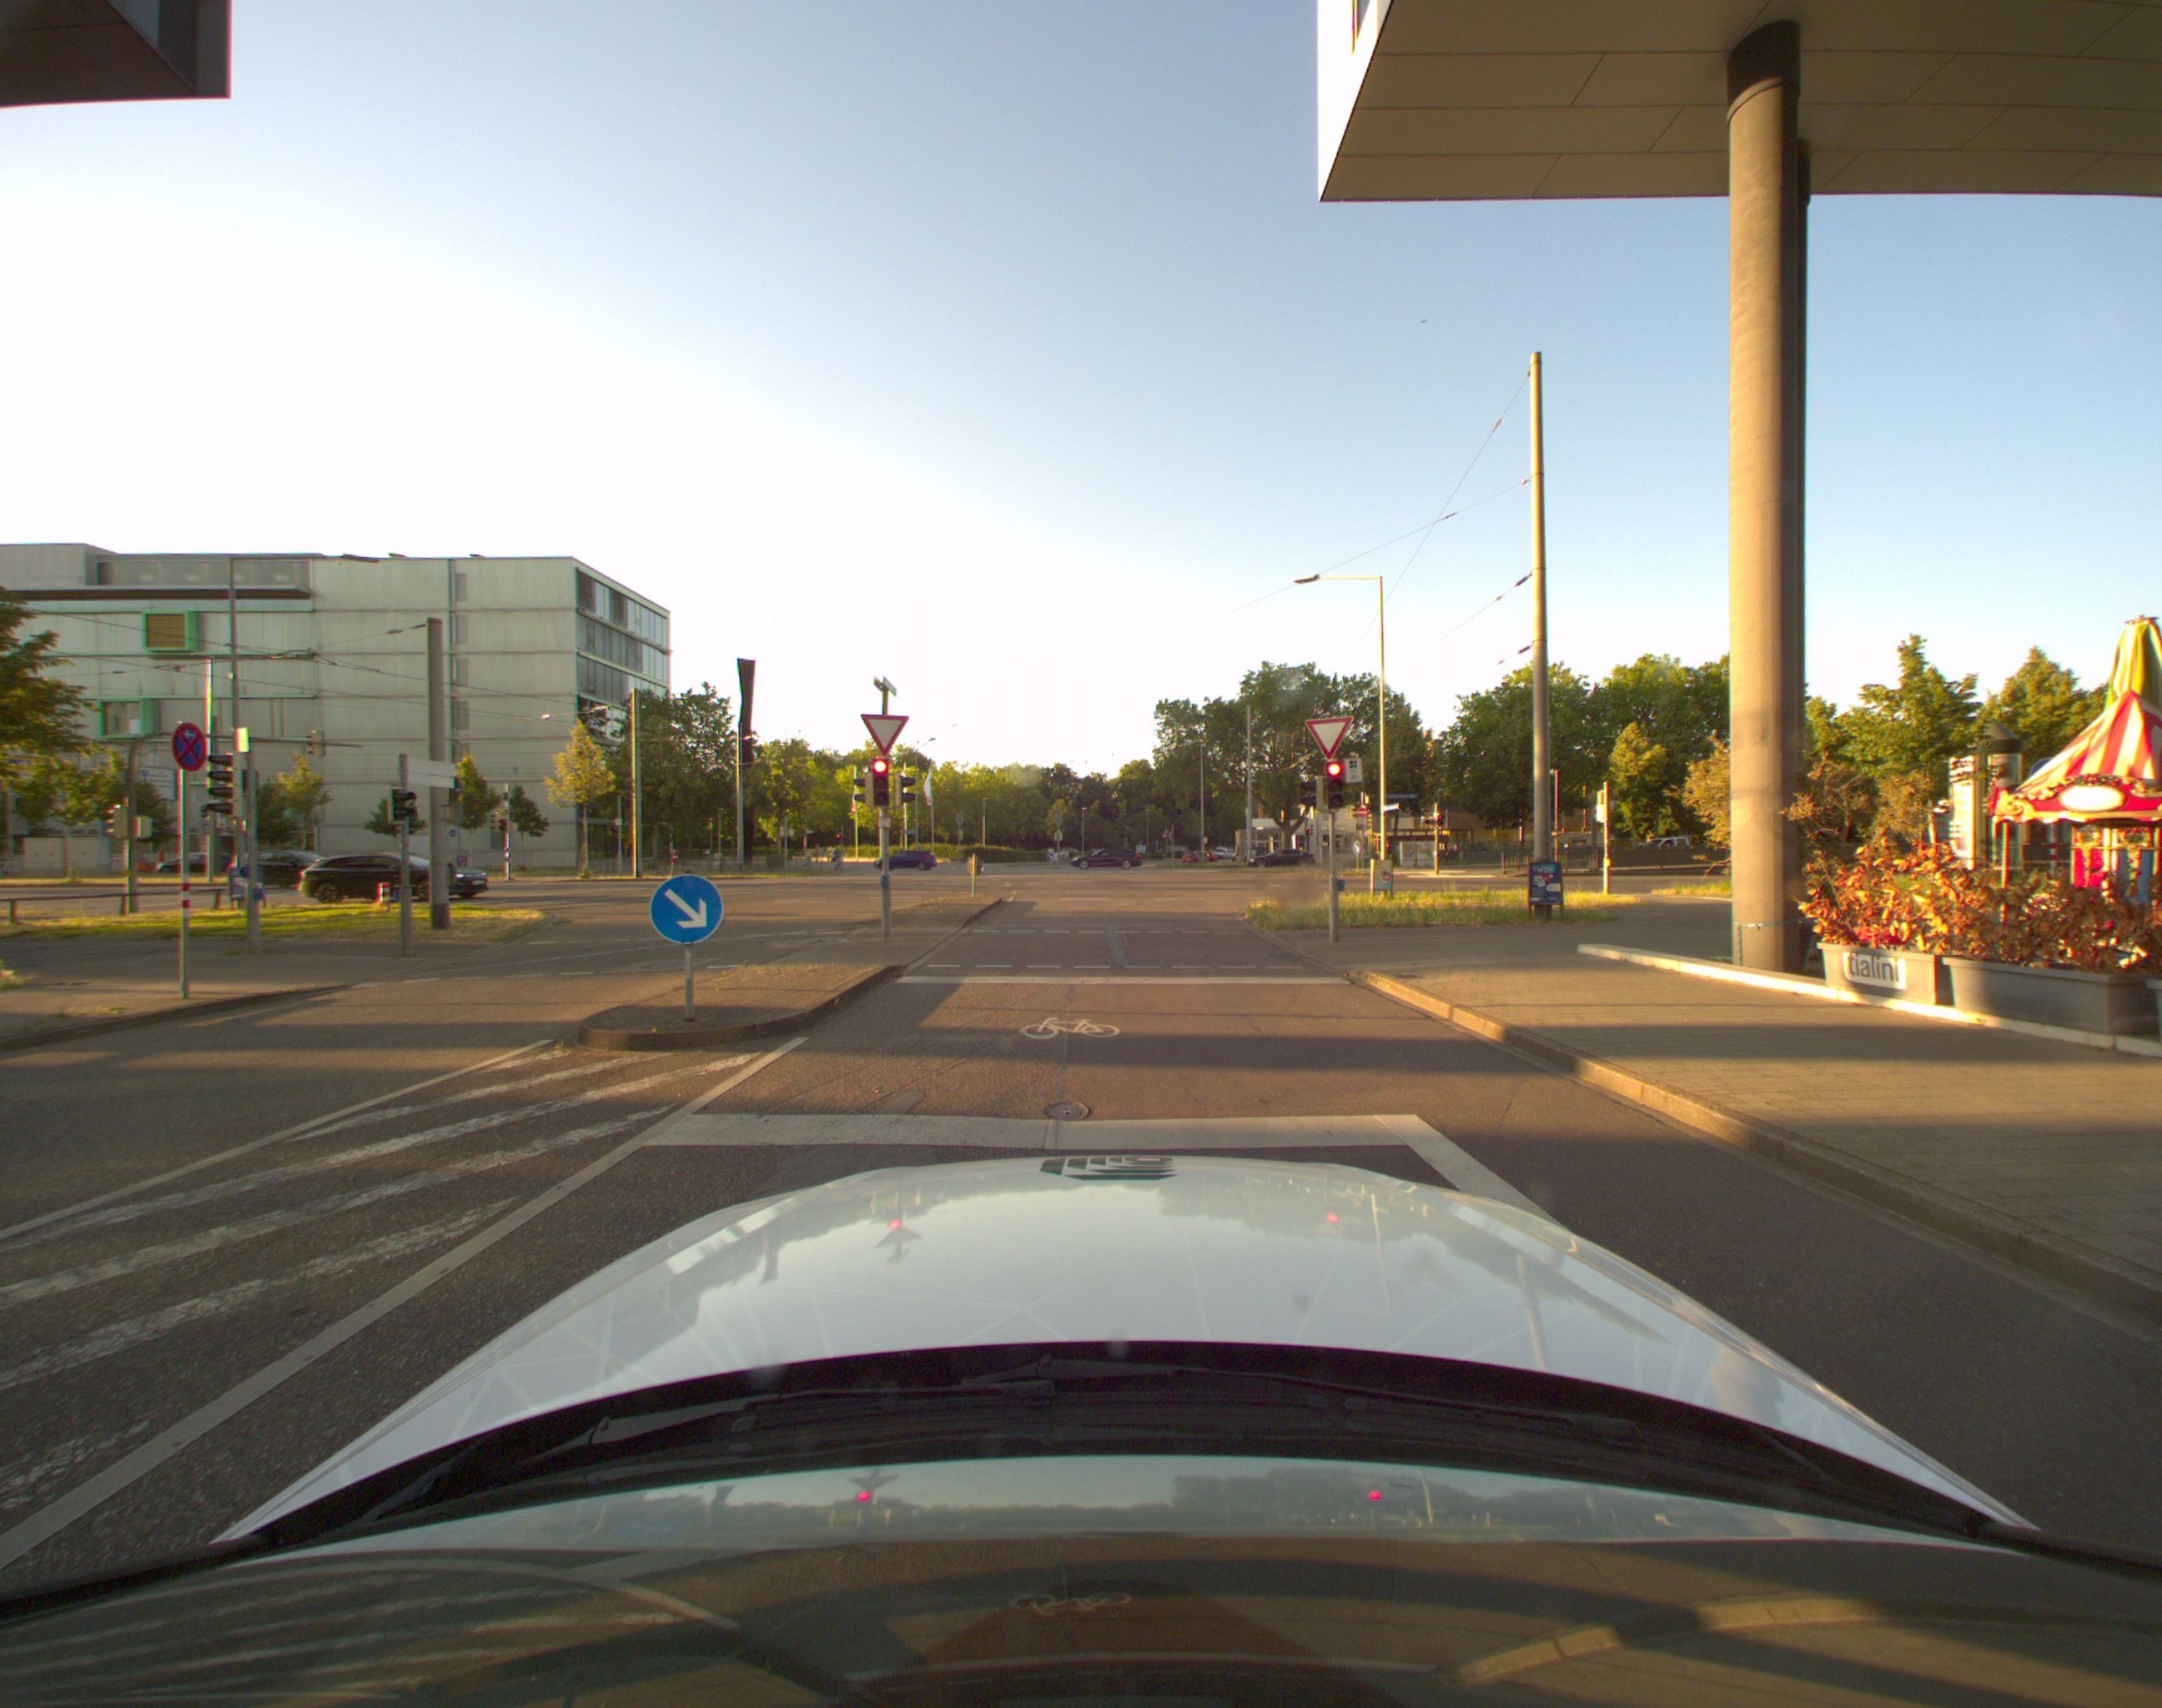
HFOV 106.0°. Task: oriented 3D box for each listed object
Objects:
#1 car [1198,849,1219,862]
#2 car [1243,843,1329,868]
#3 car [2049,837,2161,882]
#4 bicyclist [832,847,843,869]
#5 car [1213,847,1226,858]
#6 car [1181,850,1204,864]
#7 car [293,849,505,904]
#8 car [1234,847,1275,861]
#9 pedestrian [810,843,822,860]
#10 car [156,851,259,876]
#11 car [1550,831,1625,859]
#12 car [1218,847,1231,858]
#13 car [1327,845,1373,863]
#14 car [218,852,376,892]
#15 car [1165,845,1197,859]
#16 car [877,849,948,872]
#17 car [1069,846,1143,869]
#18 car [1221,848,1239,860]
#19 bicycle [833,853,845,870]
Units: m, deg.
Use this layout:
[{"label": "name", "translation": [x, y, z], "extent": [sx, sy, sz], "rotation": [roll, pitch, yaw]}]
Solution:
[{"label": "car", "translation": [16.197, 0.214, 103.179], "extent": [1.978, 1.662, 4.018], "rotation": [-1, -1, 17]}, {"label": "car", "translation": [13.464, 0.124, 53.691], "extent": [5.206, 1.552, 2.000], "rotation": [-1, -1, 1]}, {"label": "car", "translation": [37.189, 0.172, 27.895], "extent": [4.972, 1.511, 1.996], "rotation": [-1, 0, 14]}, {"label": "bicyclist", "translation": [-19.163, 0.306, 64.019], "extent": [0.753, 1.709, 0.914], "rotation": [-1, 0, -20]}, {"label": "car", "translation": [22.255, -0.251, 130.880], "extent": [1.850, 1.794, 4.013], "rotation": [-1, -1, 12]}, {"label": "car", "translation": [13.095, 0.377, 95.558], "extent": [1.978, 1.662, 4.018], "rotation": [-1, -1, 17]}, {"label": "car", "translation": [-21.566, 0.694, 25.923], "extent": [4.895, 1.614, 1.998], "rotation": [-1, 0, -3]}, {"label": "car", "translation": [18.914, 0.012, 88.900], "extent": [4.194, 1.552, 2.005], "rotation": [-1, -1, 9]}, {"label": "pedestrian", "translation": [-26.832, -0.242, 82.424], "extent": [0.852, 1.744, 0.835], "rotation": [-1, 0, 33]}, {"label": "car", "translation": [-54.619, 0.606, 50.962], "extent": [4.321, 1.496, 1.802], "rotation": [-1, -1, -3]}, {"label": "car", "translation": [47.868, -0.834, 77.074], "extent": [5.561, 2.551, 2.235], "rotation": [-1, 0, 9]}, {"label": "car", "translation": [23.919, -0.257, 135.738], "extent": [1.849, 1.794, 4.015], "rotation": [-1, -1, 14]}, {"label": "car", "translation": [23.707, 0.017, 71.930], "extent": [3.715, 1.440, 1.669], "rotation": [-1, -1, 11]}, {"label": "car", "translation": [-32.510, 0.736, 33.889], "extent": [4.467, 1.557, 1.986], "rotation": [-1, 0, -4]}, {"label": "car", "translation": [15.402, -0.332, 125.728], "extent": [4.753, 2.006, 2.002], "rotation": [-1, -1, 3]}, {"label": "car", "translation": [-11.796, 0.447, 57.233], "extent": [4.454, 1.552, 2.001], "rotation": [-1, -1, 3]}, {"label": "car", "translation": [1.742, 0.248, 57.066], "extent": [5.082, 1.552, 2.000], "rotation": [-1, -1, 1]}, {"label": "car", "translation": [21.075, -0.002, 115.299], "extent": [1.978, 1.662, 4.018], "rotation": [-1, -1, 17]}, {"label": "bicycle", "translation": [-19.061, 0.587, 64.168], "extent": [0.732, 1.341, 2.672], "rotation": [-1, 0, -21]}]
